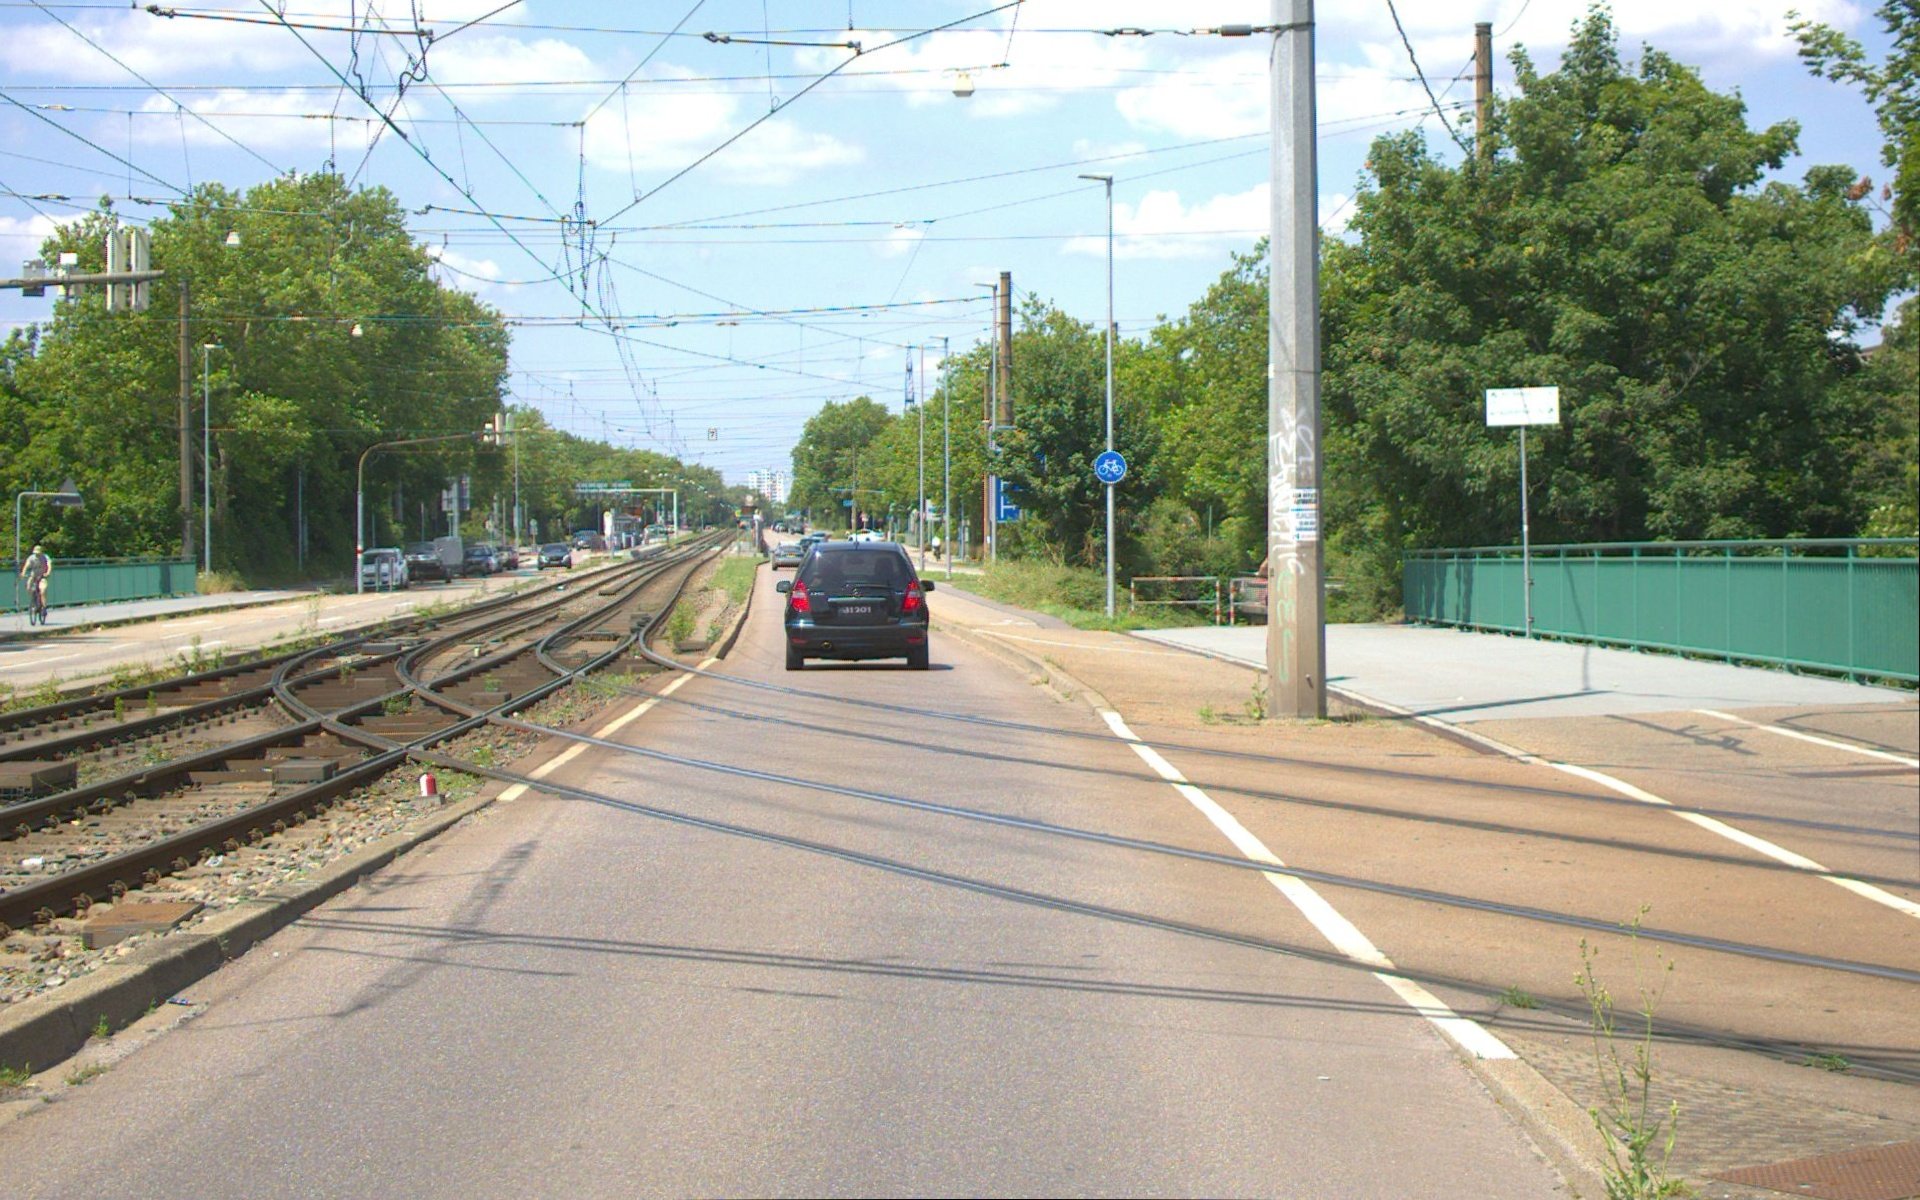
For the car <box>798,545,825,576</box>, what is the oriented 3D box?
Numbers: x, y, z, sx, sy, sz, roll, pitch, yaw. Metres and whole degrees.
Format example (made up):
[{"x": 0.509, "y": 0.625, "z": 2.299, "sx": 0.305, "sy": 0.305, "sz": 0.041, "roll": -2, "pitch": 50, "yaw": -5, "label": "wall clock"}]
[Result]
[{"x": -10.223, "y": -2.722, "z": 236.078, "sx": 1.786, "sy": 2.006, "sz": 4.001, "roll": 1, "pitch": 2, "yaw": -3, "label": "car"}]

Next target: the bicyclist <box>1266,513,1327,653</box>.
[{"x": 3.638, "y": -0.187, "z": 37.205, "sx": 0.585, "sy": 1.490, "sz": 0.558, "roll": 1, "pitch": 1, "yaw": 2, "label": "bicyclist"}]

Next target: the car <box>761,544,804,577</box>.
[{"x": -9.351, "y": -2.093, "z": 181.348, "sx": 1.885, "sy": 1.634, "sz": 4.000, "roll": 4, "pitch": 1, "yaw": 1, "label": "car"}]

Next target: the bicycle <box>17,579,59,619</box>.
[{"x": -20.275, "y": -0.022, "z": 75.630, "sx": 0.469, "sy": 0.865, "sz": 1.743, "roll": 0, "pitch": 0, "yaw": -1, "label": "bicycle"}]

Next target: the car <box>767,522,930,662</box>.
[{"x": -1.351, "y": -0.141, "z": 43.139, "sx": 1.853, "sy": 1.564, "sz": 4.388, "roll": 1, "pitch": 2, "yaw": 0, "label": "car"}]

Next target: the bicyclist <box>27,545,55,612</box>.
[{"x": -20.259, "y": -0.471, "z": 75.774, "sx": 0.456, "sy": 1.469, "sz": 0.633, "roll": 0, "pitch": 0, "yaw": -1, "label": "bicyclist"}]

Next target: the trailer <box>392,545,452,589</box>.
[{"x": -23.703, "y": -1.458, "z": 151.563, "sx": 2.461, "sy": 1.882, "sz": 5.963, "roll": 0, "pitch": 0, "yaw": -8, "label": "trailer"}]

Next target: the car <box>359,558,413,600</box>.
[{"x": -22.701, "y": -0.830, "z": 136.060, "sx": 1.719, "sy": 1.625, "sz": 4.617, "roll": 0, "pitch": 0, "yaw": -4, "label": "car"}]

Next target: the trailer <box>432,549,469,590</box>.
[{"x": -25.469, "y": -1.530, "z": 171.942, "sx": 1.609, "sy": 2.007, "sz": 3.917, "roll": 1, "pitch": 1, "yaw": -6, "label": "trailer"}]

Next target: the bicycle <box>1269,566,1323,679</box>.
[{"x": 3.629, "y": 0.225, "z": 37.256, "sx": 0.432, "sy": 1.148, "sz": 1.855, "roll": 1, "pitch": 2, "yaw": 2, "label": "bicycle"}]

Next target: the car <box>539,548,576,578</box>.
[{"x": -23.632, "y": -2.147, "z": 202.048, "sx": 1.875, "sy": 1.714, "sz": 5.331, "roll": 0, "pitch": 0, "yaw": -4, "label": "car"}]

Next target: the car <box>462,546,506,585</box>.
[{"x": -25.644, "y": -1.835, "z": 185.266, "sx": 1.993, "sy": 2.007, "sz": 4.000, "roll": 0, "pitch": 0, "yaw": -2, "label": "car"}]
